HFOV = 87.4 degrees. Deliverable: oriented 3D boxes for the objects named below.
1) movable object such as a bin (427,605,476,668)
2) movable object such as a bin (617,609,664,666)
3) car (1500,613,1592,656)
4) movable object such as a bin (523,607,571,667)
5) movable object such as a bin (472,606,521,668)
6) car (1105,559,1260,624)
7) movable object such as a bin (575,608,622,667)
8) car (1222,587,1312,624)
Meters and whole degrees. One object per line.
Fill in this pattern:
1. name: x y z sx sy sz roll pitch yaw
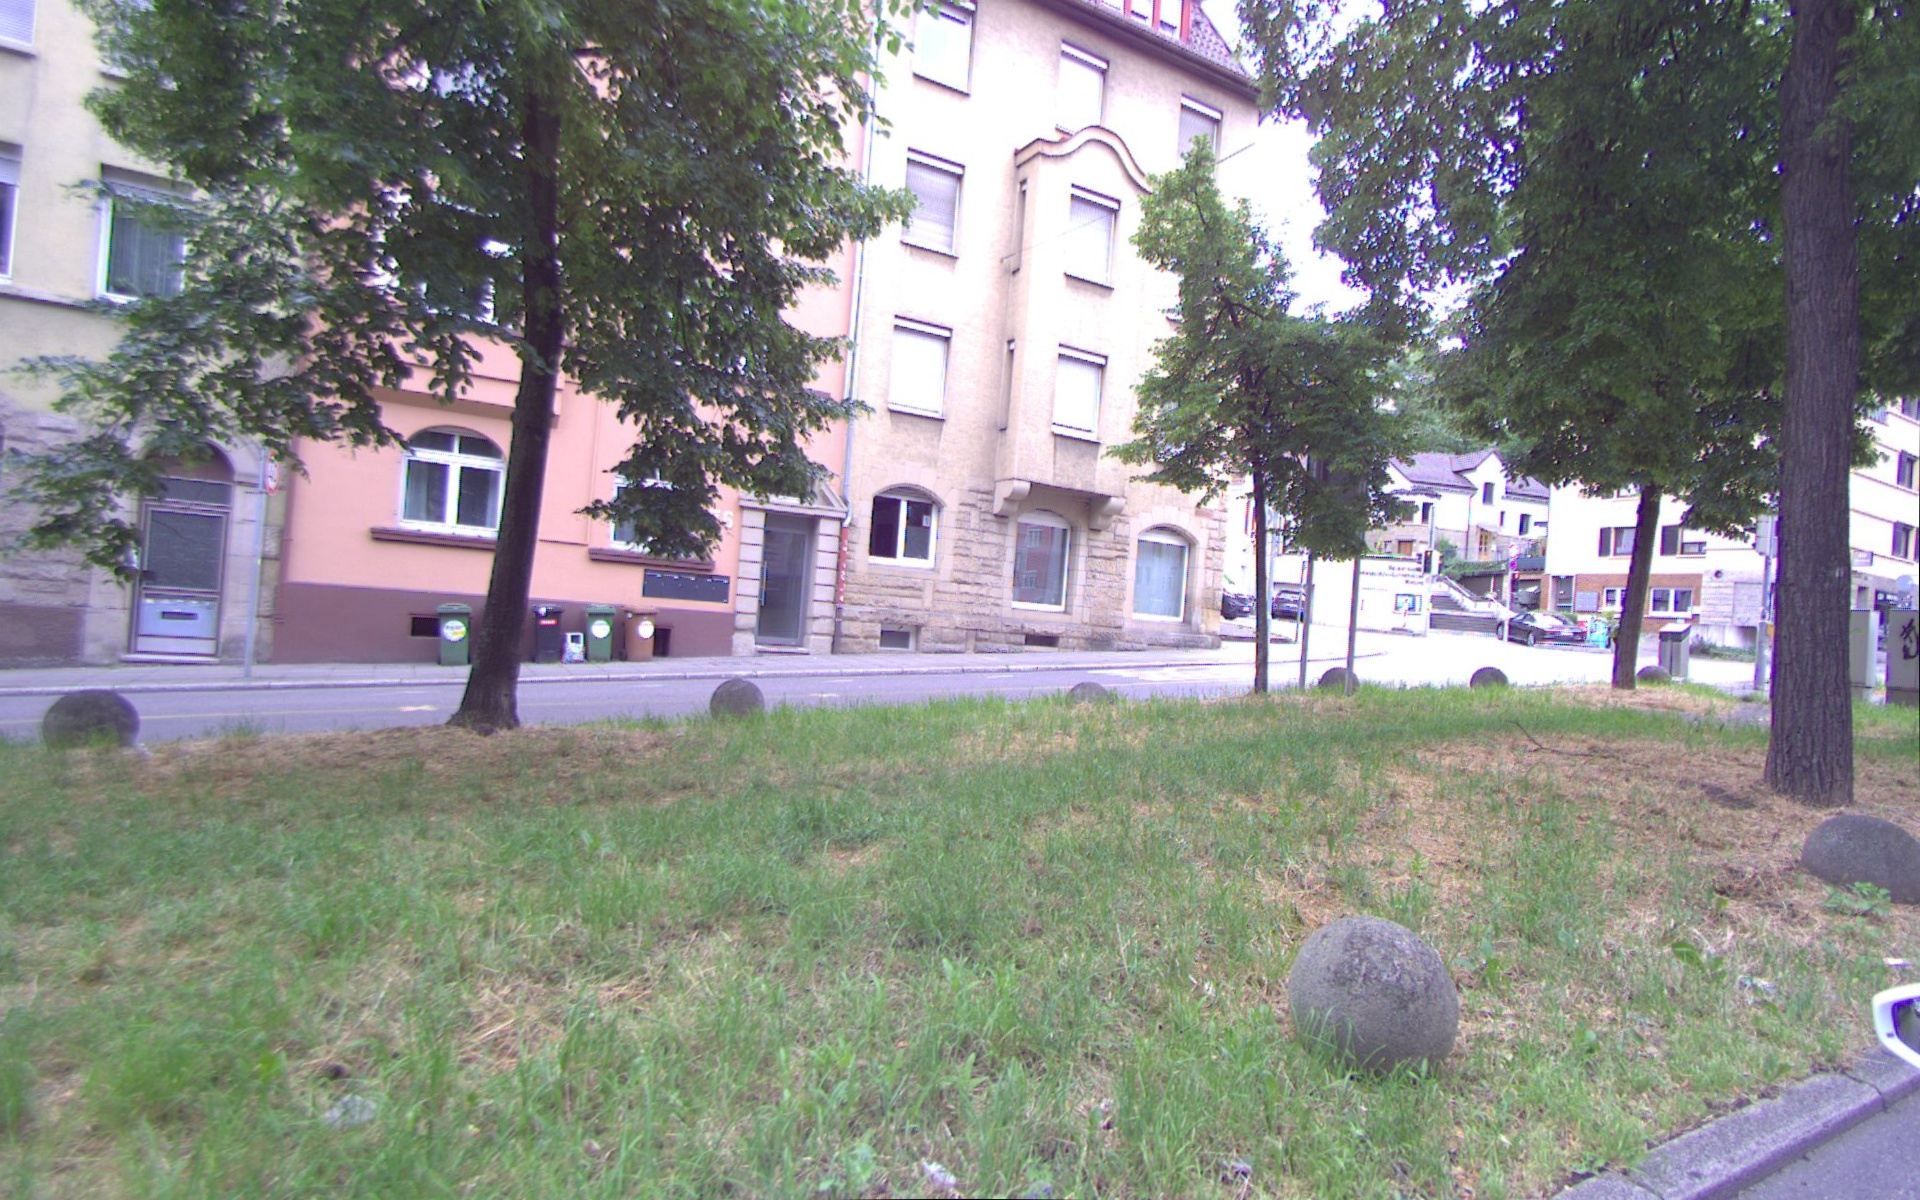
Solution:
1. movable object such as a bin: -7.810 0.554 15.418 0.595 0.916 0.605 1 2 -33
2. movable object such as a bin: -5.368 0.625 16.855 0.595 0.916 0.605 1 2 -33
3. car: 25.479 1.457 43.826 1.844 1.687 4.002 3 -1 4
4. movable object such as a bin: -6.616 0.589 16.092 0.595 0.916 0.605 1 2 -33
5. movable object such as a bin: -7.257 0.578 15.717 0.595 0.916 0.605 1 2 -33
6. car: 8.076 -0.356 36.747 5.103 2.092 1.987 4 2 38
7. movable object such as a bin: -5.943 0.615 16.499 0.595 0.916 0.605 1 2 -33
8. car: 14.315 0.258 46.898 3.920 1.530 1.800 2 1 18
